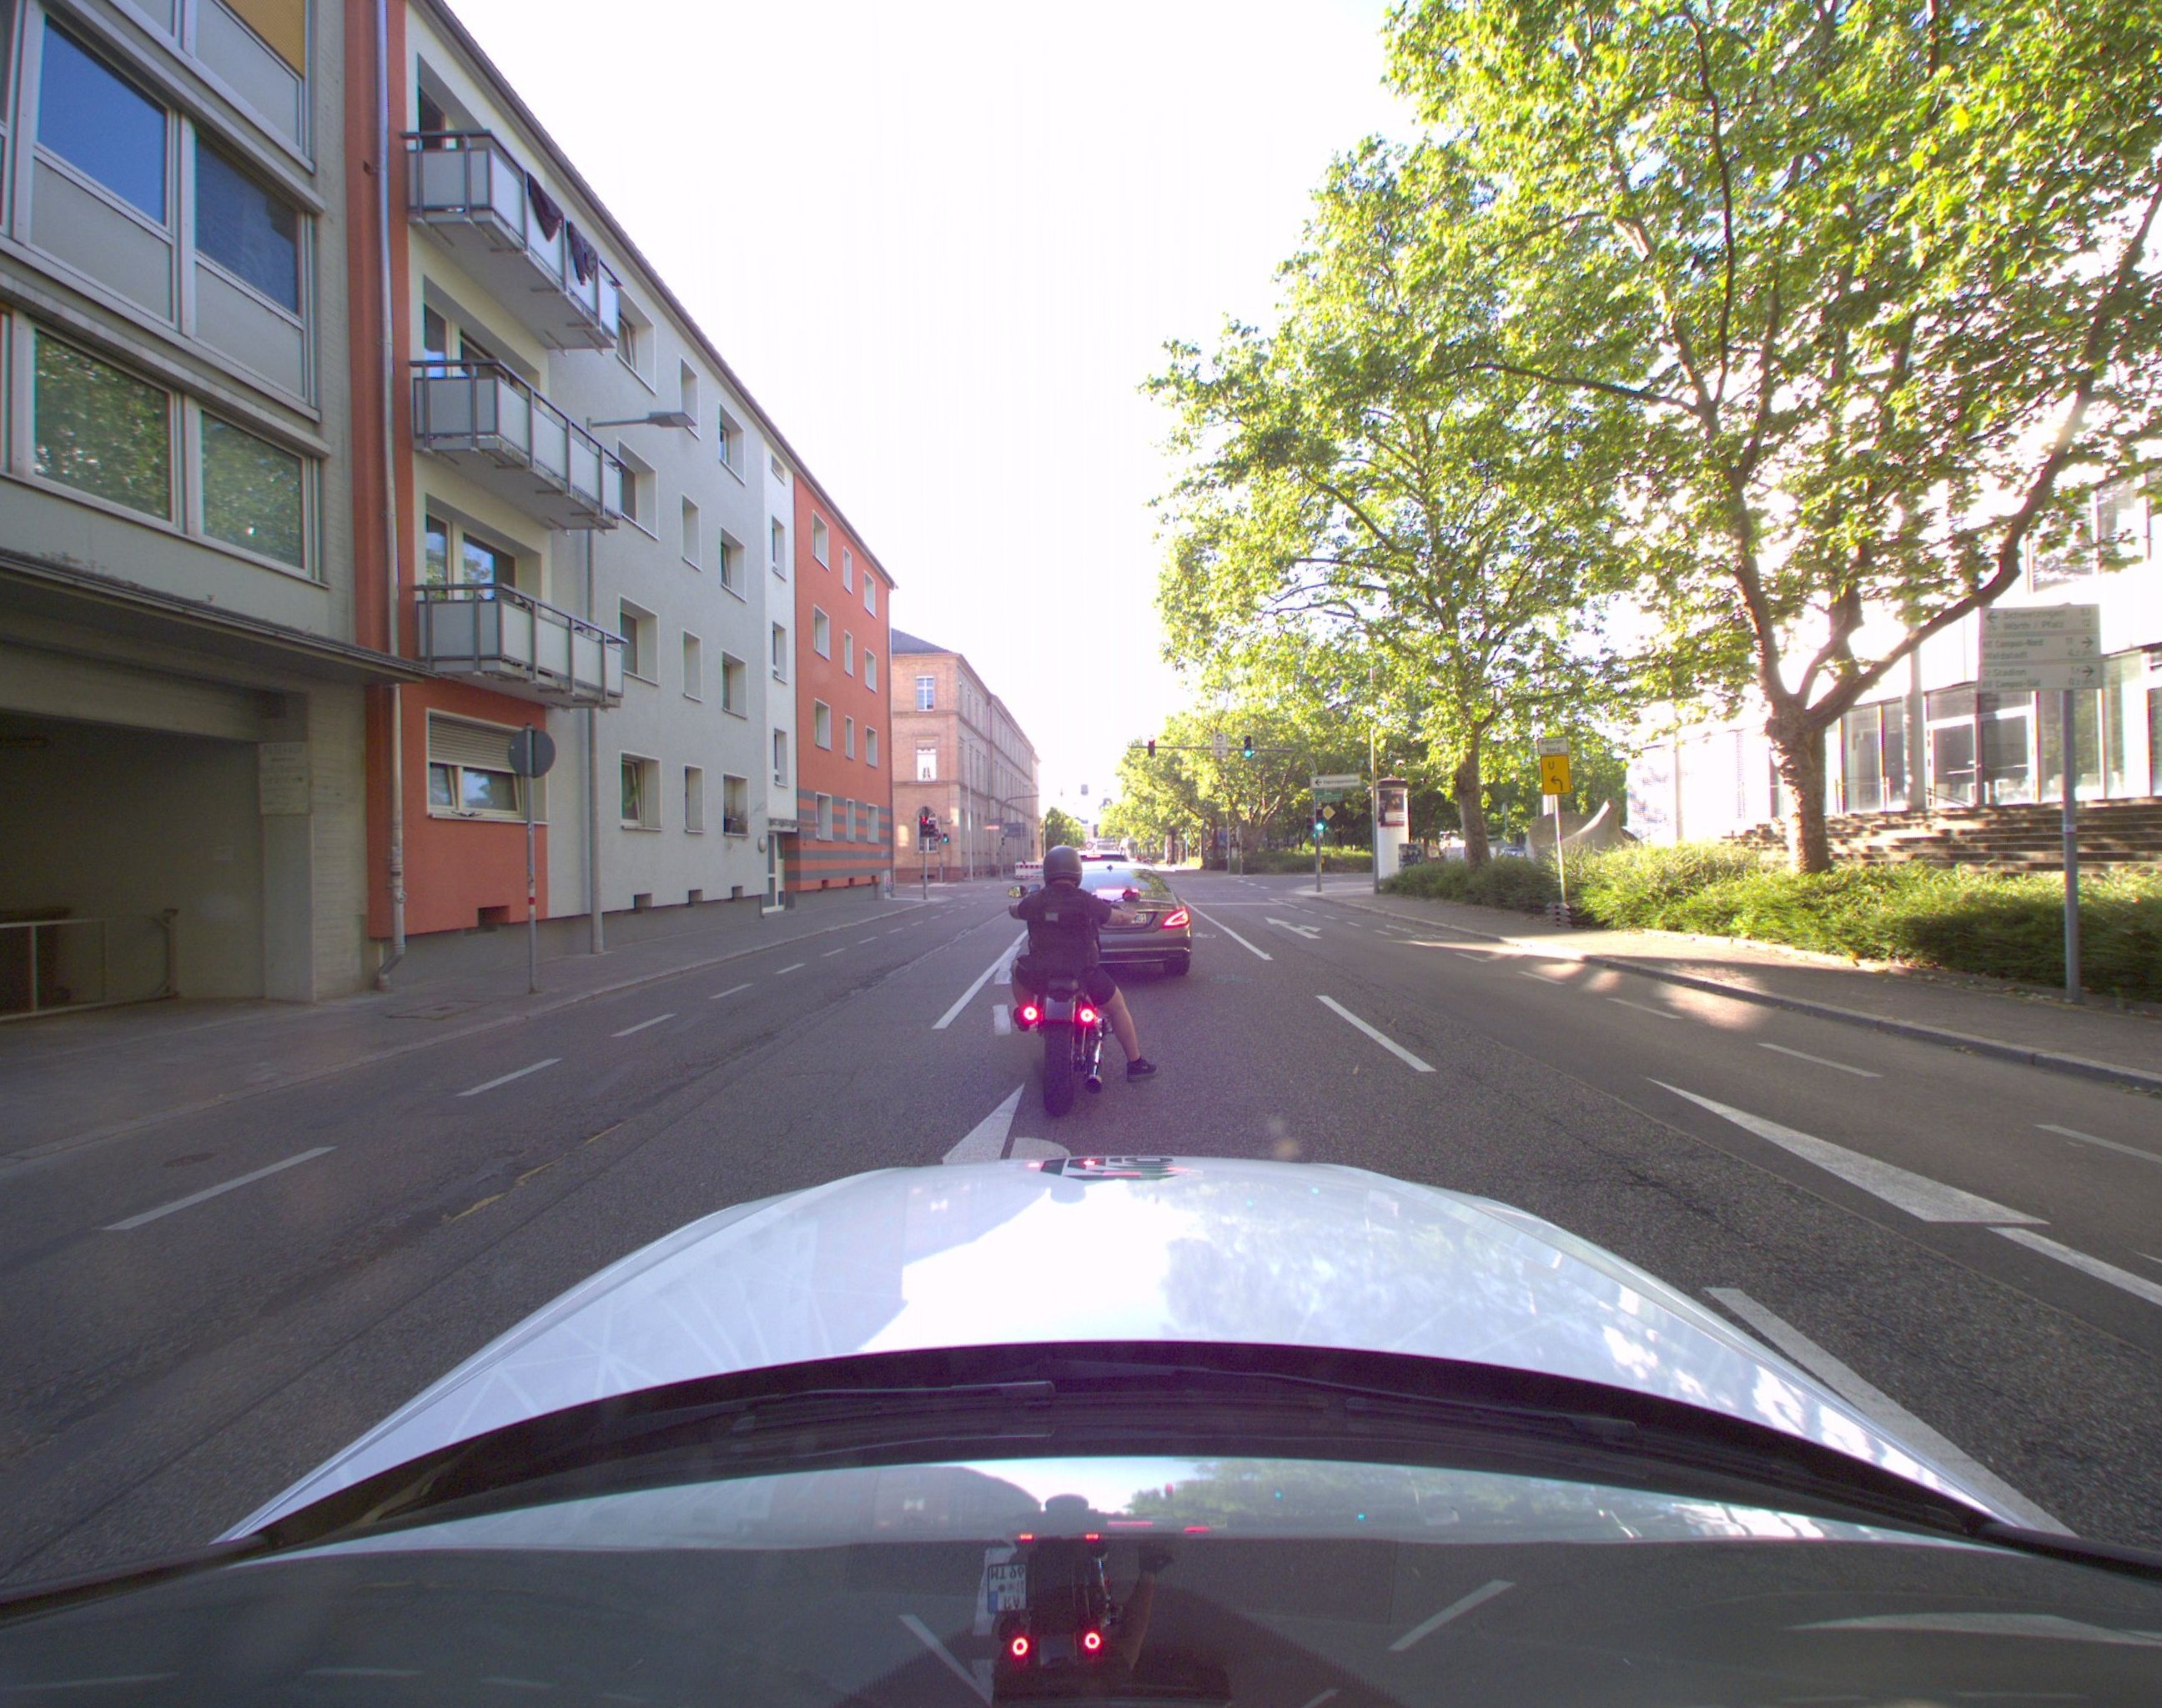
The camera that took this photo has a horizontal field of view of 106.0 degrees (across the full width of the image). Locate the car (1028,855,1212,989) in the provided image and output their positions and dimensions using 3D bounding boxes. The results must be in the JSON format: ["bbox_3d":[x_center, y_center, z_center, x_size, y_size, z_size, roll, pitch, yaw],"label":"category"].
[{"bbox_3d":[0.312,0.759,11.259,1.900,1.441,4.279,-1,0,-6],"label":"car"}]

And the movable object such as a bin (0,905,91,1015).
[{"bbox_3d":[-11.328,1.100,8.647,0.736,1.074,0.716,0,-1,2],"label":"movable object such as a bin"}]

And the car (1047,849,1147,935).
[{"bbox_3d":[0.265,0.696,16.895,1.808,1.536,3.847,-1,0,-1],"label":"car"}]

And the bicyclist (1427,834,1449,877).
[{"bbox_3d":[13.518,0.056,30.819,0.710,1.582,0.941,-1,-1,25],"label":"bicyclist"}]

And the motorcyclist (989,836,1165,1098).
[{"bbox_3d":[-0.010,0.689,5.390,1.057,1.582,0.908,0,-1,1],"label":"motorcyclist"}]

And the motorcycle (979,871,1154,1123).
[{"bbox_3d":[-0.045,0.814,5.660,0.958,1.357,2.321,0,-1,2],"label":"motorcycle"}]

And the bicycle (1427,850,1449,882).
[{"bbox_3d":[13.499,0.442,30.793,0.709,1.172,2.188,-1,-1,25],"label":"bicycle"}]
